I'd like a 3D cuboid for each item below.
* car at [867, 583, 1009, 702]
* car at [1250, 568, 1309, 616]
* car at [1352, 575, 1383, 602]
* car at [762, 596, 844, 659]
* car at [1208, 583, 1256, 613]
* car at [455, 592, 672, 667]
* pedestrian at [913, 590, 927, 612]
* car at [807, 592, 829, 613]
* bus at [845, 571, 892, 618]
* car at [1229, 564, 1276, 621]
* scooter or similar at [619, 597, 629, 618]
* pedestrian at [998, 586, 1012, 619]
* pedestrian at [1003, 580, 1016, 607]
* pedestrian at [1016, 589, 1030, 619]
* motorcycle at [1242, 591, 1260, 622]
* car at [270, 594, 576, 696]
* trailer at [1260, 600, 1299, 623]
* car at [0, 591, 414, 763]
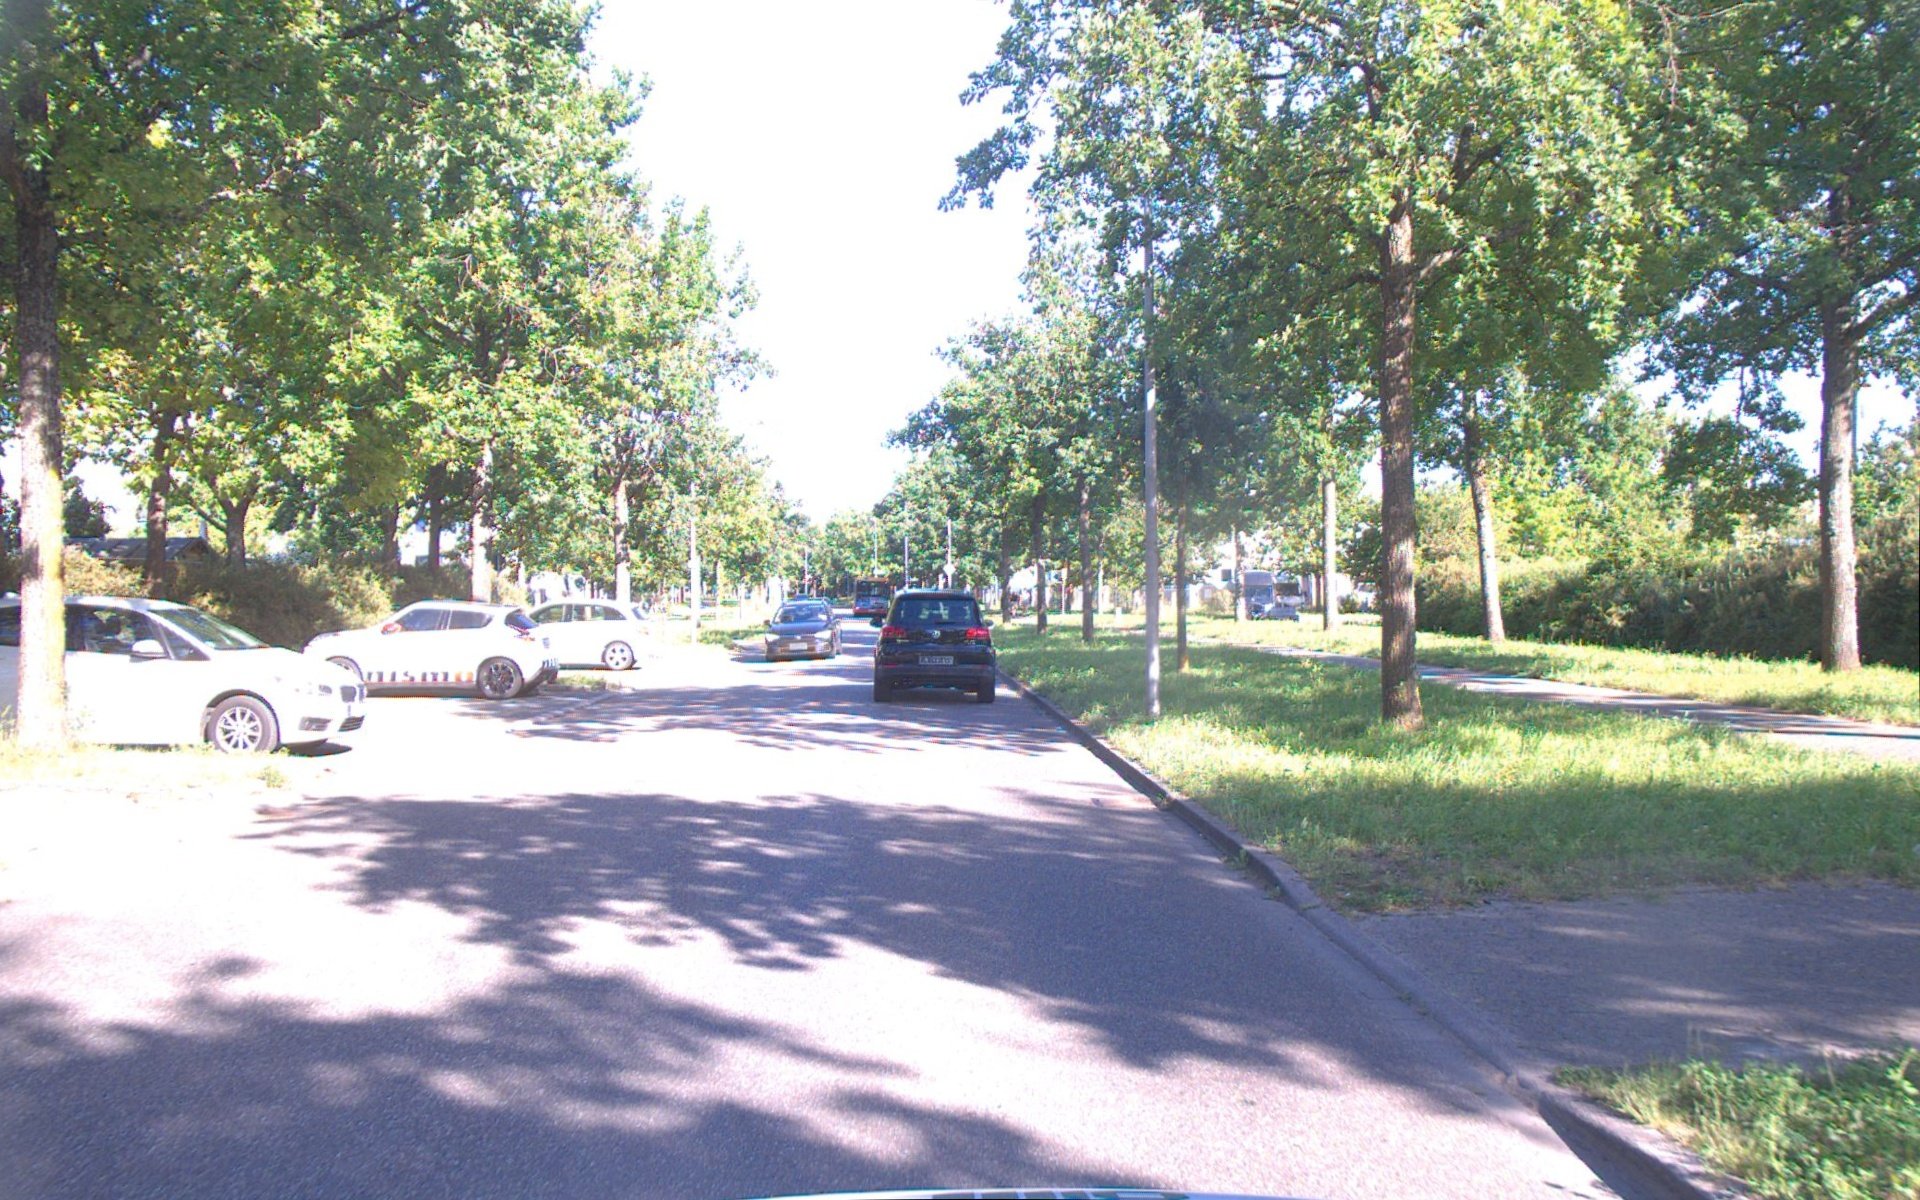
[{"bbox_3d":[-0.439,0.590,25.868,1.898,1.685,4.422,1,1,-5],"label":"car"},{"bbox_3d":[18.477,-0.467,95.741,2.118,2.689,4.846,-1,0,-4],"label":"car"},{"bbox_3d":[26.023,-0.761,105.622,1.796,1.668,4.004,-1,0,13],"label":"car"},{"bbox_3d":[-3.977,0.667,42.605,1.650,1.426,4.427,-2,1,0],"label":"car"},{"bbox_3d":[15.856,-0.114,96.677,1.966,1.693,3.593,-1,0,-5],"label":"car"},{"bbox_3d":[-8.946,0.651,37.663,4.538,1.585,2.188,1,1,-7],"label":"car"},{"bbox_3d":[-3.078,0.086,126.685,0.999,1.680,1.098,-1,0,-5],"label":"pedestrian"},{"bbox_3d":[-11.797,0.195,137.555,1.731,1.555,4.491,-2,1,-5],"label":"car"},{"bbox_3d":[-7.169,-0.464,128.748,2.712,3.517,11.191,-1,1,-8],"label":"bus"},{"bbox_3d":[15.074,-0.421,85.378,2.040,2.610,5.978,1,3,7],"label":"car"},{"bbox_3d":[-20.683,0.464,101.899,0.387,1.301,1.440,-1,0,-4],"label":"scooter or similar"},{"bbox_3d":[2.623,0.130,95.853,0.711,1.843,0.867,-1,3,-5],"label":"pedestrian"},{"bbox_3d":[2.999,-0.381,100.288,0.711,1.631,0.866,-1,0,-5],"label":"pedestrian"},{"bbox_3d":[3.847,0.223,101.079,0.711,1.785,0.867,-3,0,-5],"label":"pedestrian"},{"bbox_3d":[13.169,0.316,74.915,0.648,1.253,2.407,-1,-4,7],"label":"motorcycle"},{"bbox_3d":[-8.644,0.699,26.970,4.325,1.537,2.087,1,1,-4],"label":"car"},{"bbox_3d":[14.108,0.508,73.041,1.545,0.883,2.055,-1,-4,7],"label":"trailer"},{"bbox_3d":[-8.034,0.726,16.708,4.323,1.583,2.088,1,0,-1],"label":"car"}]
